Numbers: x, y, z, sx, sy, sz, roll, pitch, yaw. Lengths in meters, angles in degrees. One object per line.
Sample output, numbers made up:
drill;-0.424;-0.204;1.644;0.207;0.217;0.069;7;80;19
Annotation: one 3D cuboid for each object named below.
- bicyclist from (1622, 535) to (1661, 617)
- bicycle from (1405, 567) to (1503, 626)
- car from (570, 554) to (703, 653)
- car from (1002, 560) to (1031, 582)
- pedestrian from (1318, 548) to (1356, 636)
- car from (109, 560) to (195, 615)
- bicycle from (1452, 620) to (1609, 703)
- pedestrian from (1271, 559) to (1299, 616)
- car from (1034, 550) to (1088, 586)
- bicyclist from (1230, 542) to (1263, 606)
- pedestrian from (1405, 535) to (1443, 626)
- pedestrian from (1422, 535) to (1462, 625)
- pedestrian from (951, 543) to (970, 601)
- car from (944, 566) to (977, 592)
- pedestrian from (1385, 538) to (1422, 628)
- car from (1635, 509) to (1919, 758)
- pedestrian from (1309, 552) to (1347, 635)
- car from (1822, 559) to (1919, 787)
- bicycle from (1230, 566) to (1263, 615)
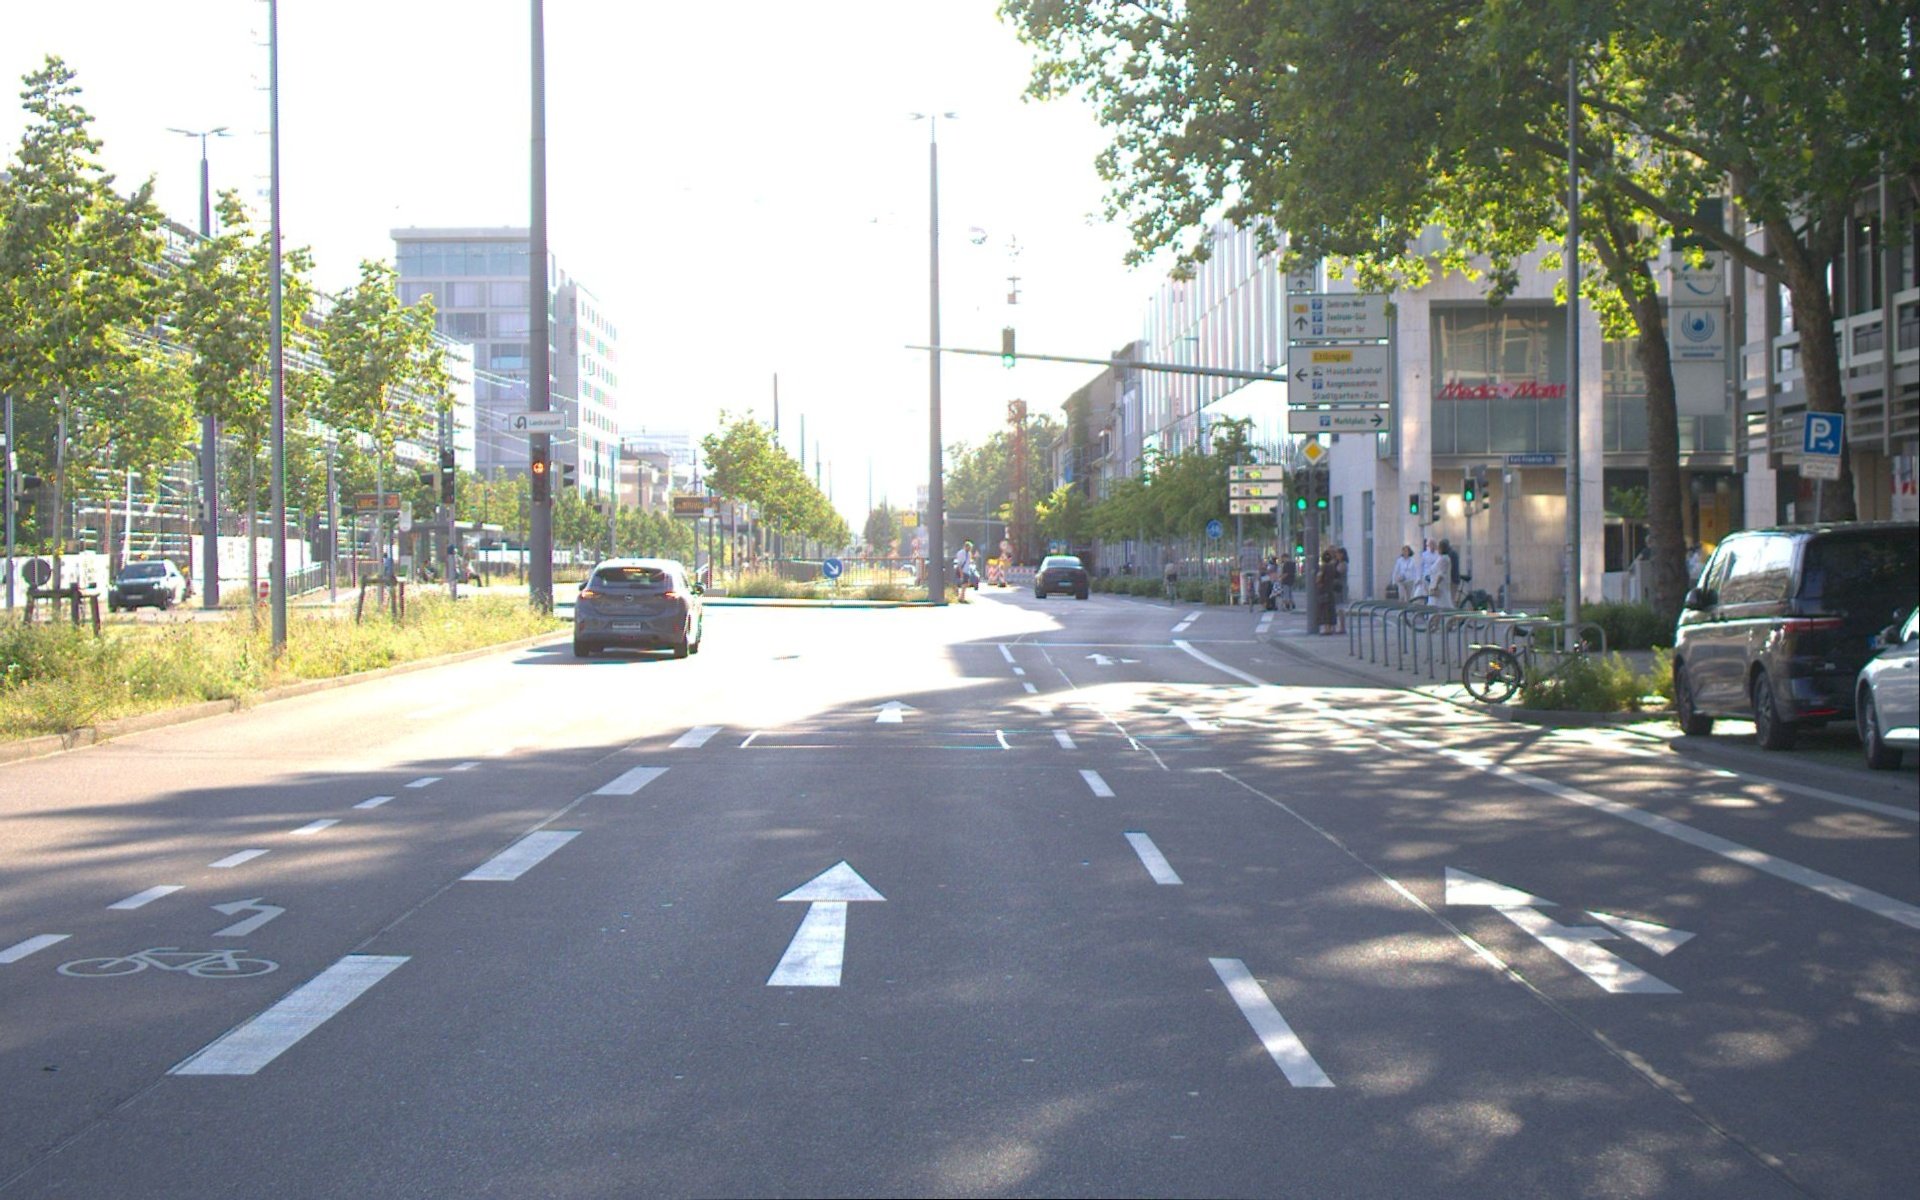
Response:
bicyclist;12.658;-0.453;63.853;0.578;1.517;0.749;0;1;0
bicycle;9.600;-0.073;66.809;1.803;1.082;0.479;-2;1;1
car;-4.879;0.025;52.251;1.776;1.423;4.001;1;1;-2
car;3.845;-1.987;233.749;1.703;1.423;3.926;0;1;-2
pedestrian;7.445;-0.160;67.901;0.634;1.697;0.570;-2;1;0
car;-27.184;-0.440;115.773;1.993;1.770;4.000;0;1;-1
bicycle;6.354;0.685;38.358;1.692;0.864;0.572;-2;1;8
pedestrian;9.950;-0.376;105.155;0.817;1.728;0.790;0;1;3
car;4.128;-1.323;141.220;1.940;1.423;3.926;0;1;-2
bicyclist;7.242;-0.664;86.937;0.800;1.596;0.785;0;1;4
pedestrian;10.549;-0.451;78.244;0.766;2.053;0.797;-2;1;6
pedestrian;9.218;-0.390;65.785;0.634;1.697;0.570;-2;1;0
pedestrian;0.017;-0.849;104.279;0.492;1.737;0.447;0;1;-10
car;0.015;-1.219;199.614;1.759;1.480;3.850;0;1;-2
pedestrian;10.217;-0.396;79.186;0.766;2.053;0.797;-2;1;6
car;7.463;0.218;30.400;1.829;1.964;5.322;-2;1;0
pedestrian;7.203;-0.128;67.295;0.634;1.602;0.570;-2;1;0
car;7.432;0.481;24.206;1.682;1.509;5.058;-2;1;3
bicycle;7.225;-0.244;86.738;0.800;1.200;2.264;0;1;4
